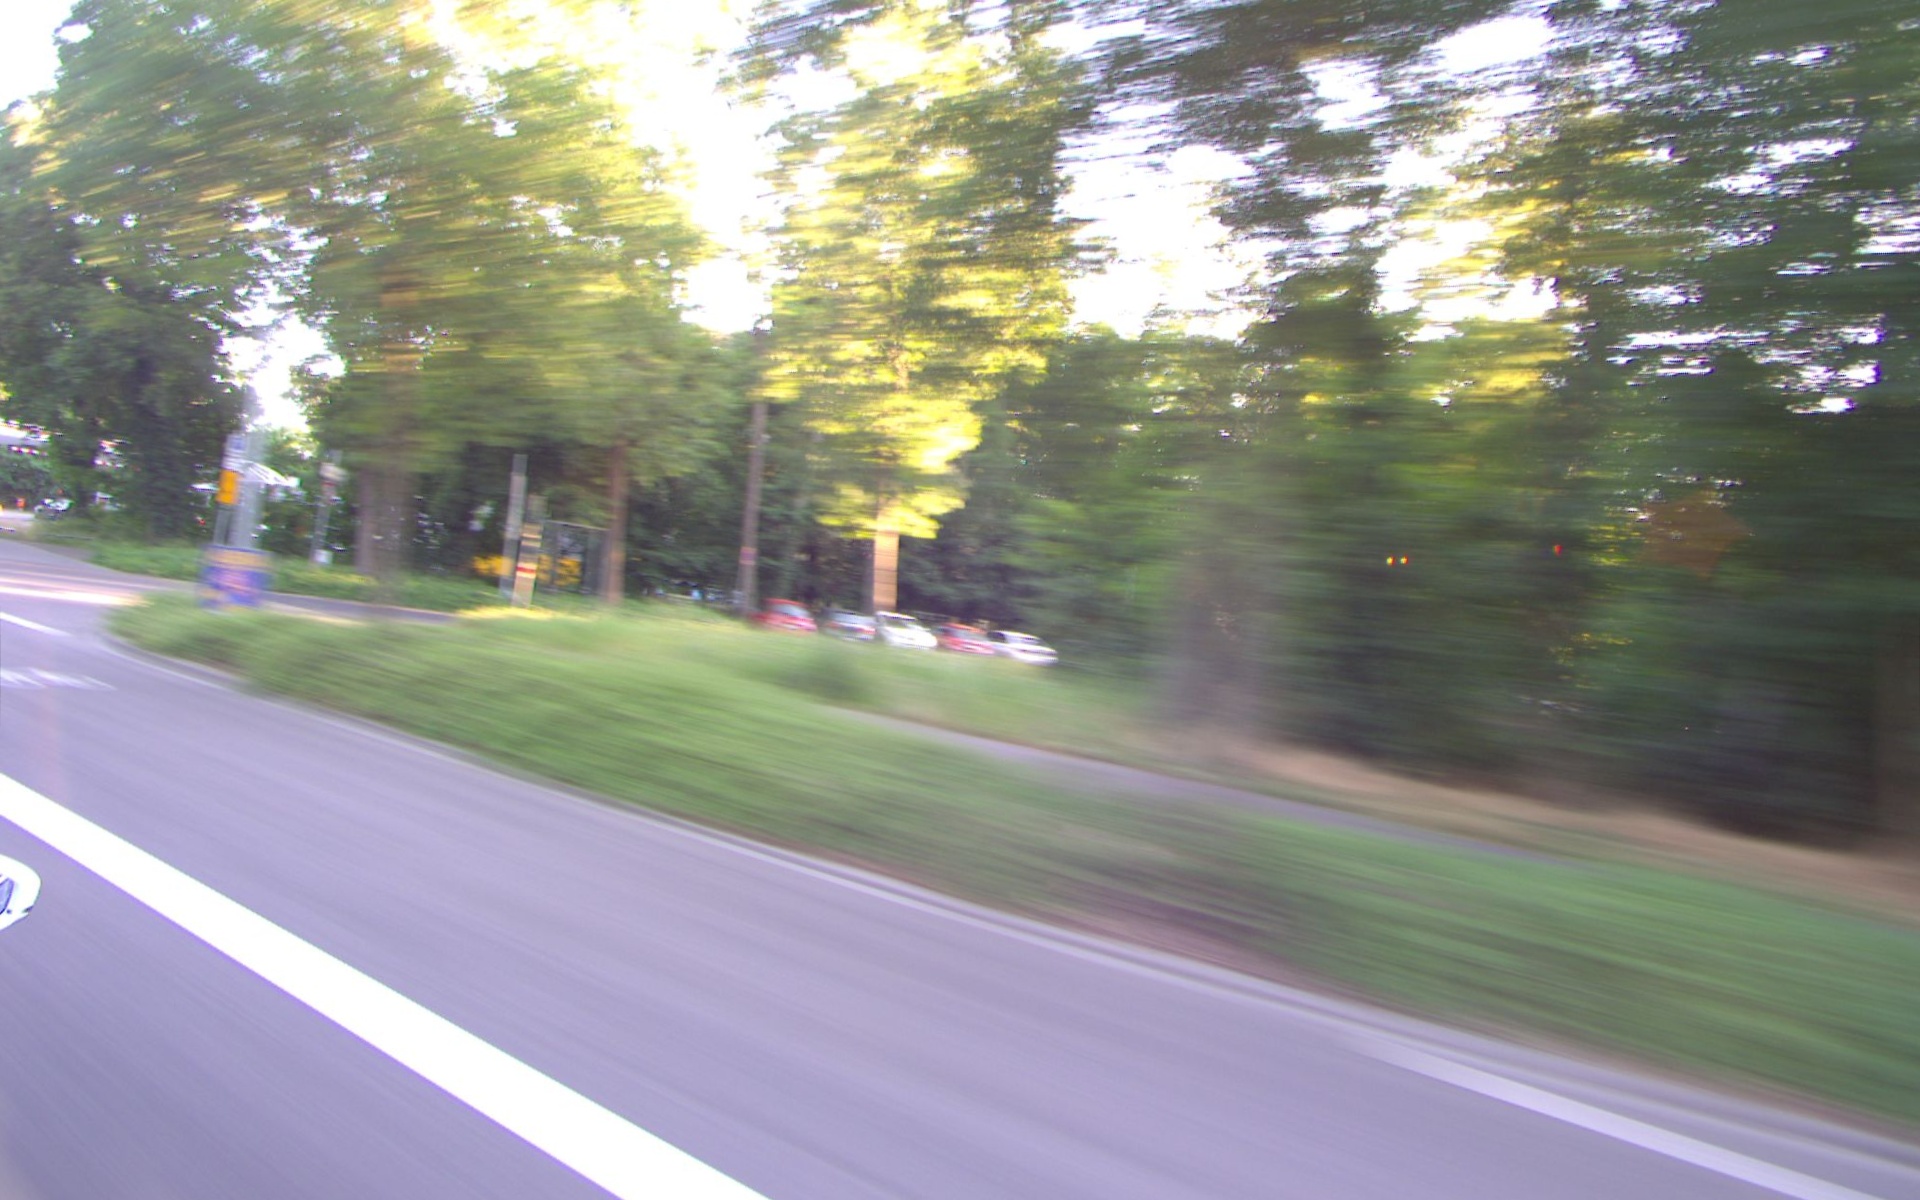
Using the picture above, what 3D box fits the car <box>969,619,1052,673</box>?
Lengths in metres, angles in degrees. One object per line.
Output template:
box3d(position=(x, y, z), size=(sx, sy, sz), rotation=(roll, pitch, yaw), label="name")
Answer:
box3d(position=(1.940, 1.786, 39.872), size=(1.522, 1.667, 3.818), rotation=(7, -1, -24), label="car")

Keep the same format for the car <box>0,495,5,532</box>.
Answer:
box3d(position=(-44.478, -4.105, 44.858), size=(4.743, 1.601, 1.772), rotation=(7, -2, 35), label="car")

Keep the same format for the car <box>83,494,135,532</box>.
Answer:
box3d(position=(-65.501, -6.718, 77.432), size=(4.549, 2.374, 1.772), rotation=(7, -2, 35), label="car")

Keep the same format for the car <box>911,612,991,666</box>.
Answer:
box3d(position=(-0.409, 1.473, 39.054), size=(1.522, 1.667, 3.818), rotation=(7, -1, -24), label="car")

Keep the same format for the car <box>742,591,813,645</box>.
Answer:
box3d(position=(-6.668, 0.624, 36.491), size=(1.522, 1.604, 3.818), rotation=(7, -1, -24), label="car")

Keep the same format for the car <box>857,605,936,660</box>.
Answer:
box3d(position=(-2.446, 1.199, 37.839), size=(1.522, 1.667, 3.818), rotation=(7, -1, -24), label="car")

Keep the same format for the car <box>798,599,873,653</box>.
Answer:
box3d(position=(-4.628, 0.925, 37.006), size=(1.522, 1.604, 3.818), rotation=(7, -1, -24), label="car")
